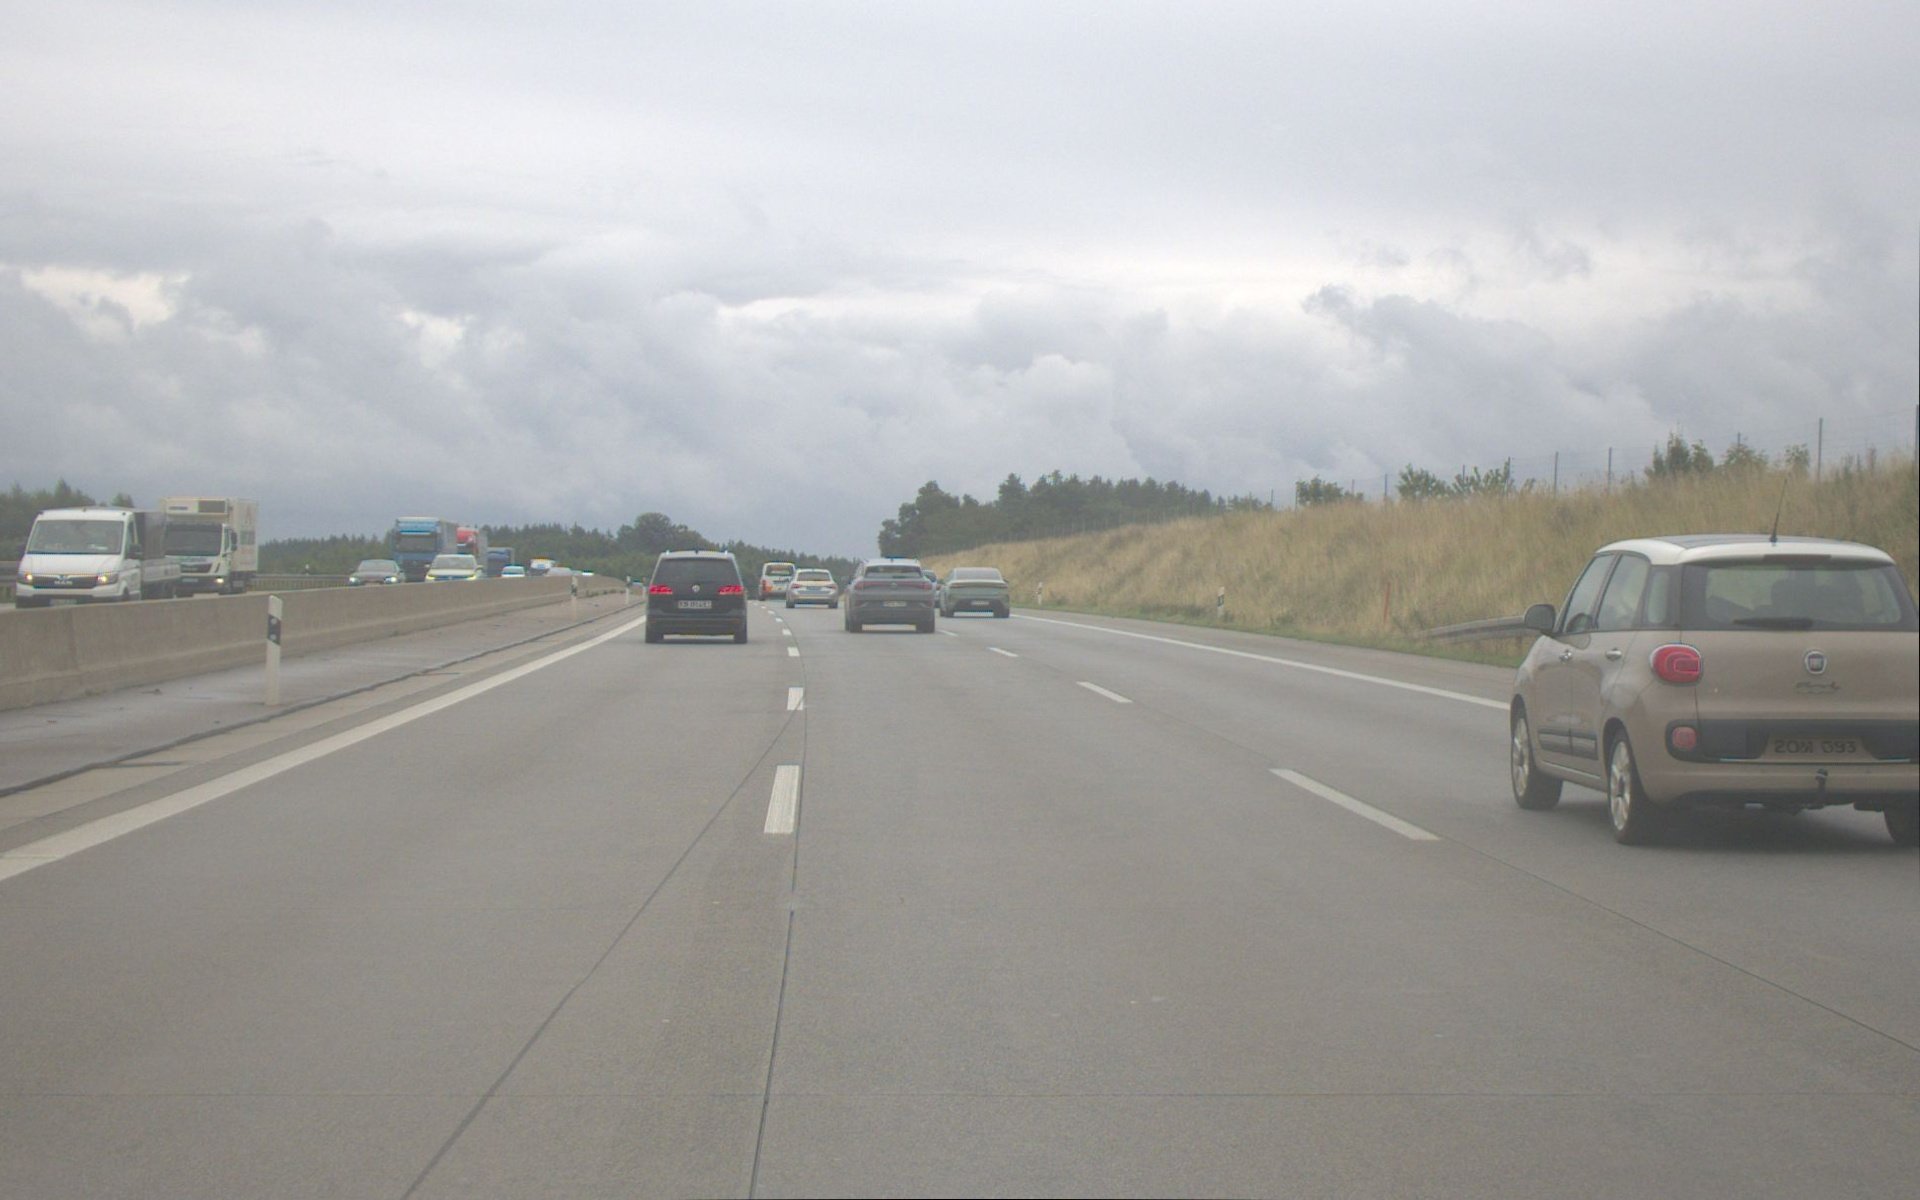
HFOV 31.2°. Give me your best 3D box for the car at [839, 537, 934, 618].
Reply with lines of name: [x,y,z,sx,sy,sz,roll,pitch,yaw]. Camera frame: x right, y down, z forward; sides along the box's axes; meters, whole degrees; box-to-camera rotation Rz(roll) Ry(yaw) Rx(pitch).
car: [-1.657,-0.510,75.704,1.898,1.684,5.267,1,1,-3]

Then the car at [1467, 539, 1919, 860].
car: [4.231,0.478,19.595,1.785,1.599,4.571,1,1,-3]

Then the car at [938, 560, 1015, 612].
car: [0.454,-0.430,100.915,2.014,1.441,4.745,1,1,-3]

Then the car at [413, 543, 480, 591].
car: [-17.270,-1.108,115.797,1.742,1.561,4.500,1,1,-2]

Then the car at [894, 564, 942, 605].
car: [-1.622,-0.607,132.117,1.485,1.466,3.505,3,0,-5]

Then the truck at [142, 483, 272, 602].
truck: [-25.495,-1.935,116.794,2.898,3.850,8.901,1,1,-3]

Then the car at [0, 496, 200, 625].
car: [-17.162,-0.785,68.373,2.621,2.392,7.517,1,1,-2]

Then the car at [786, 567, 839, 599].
car: [-5.388,-0.633,125.850,1.797,1.119,4.000,1,1,-1]

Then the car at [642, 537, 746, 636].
car: [-4.877,-0.270,63.396,1.785,1.741,3.915,1,1,-3]

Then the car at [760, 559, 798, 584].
car: [-9.192,-1.446,174.622,1.797,1.217,4.000,1,1,-1]

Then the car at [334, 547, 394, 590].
car: [-22.008,-1.174,127.012,1.629,1.561,4.411,1,1,-3]
